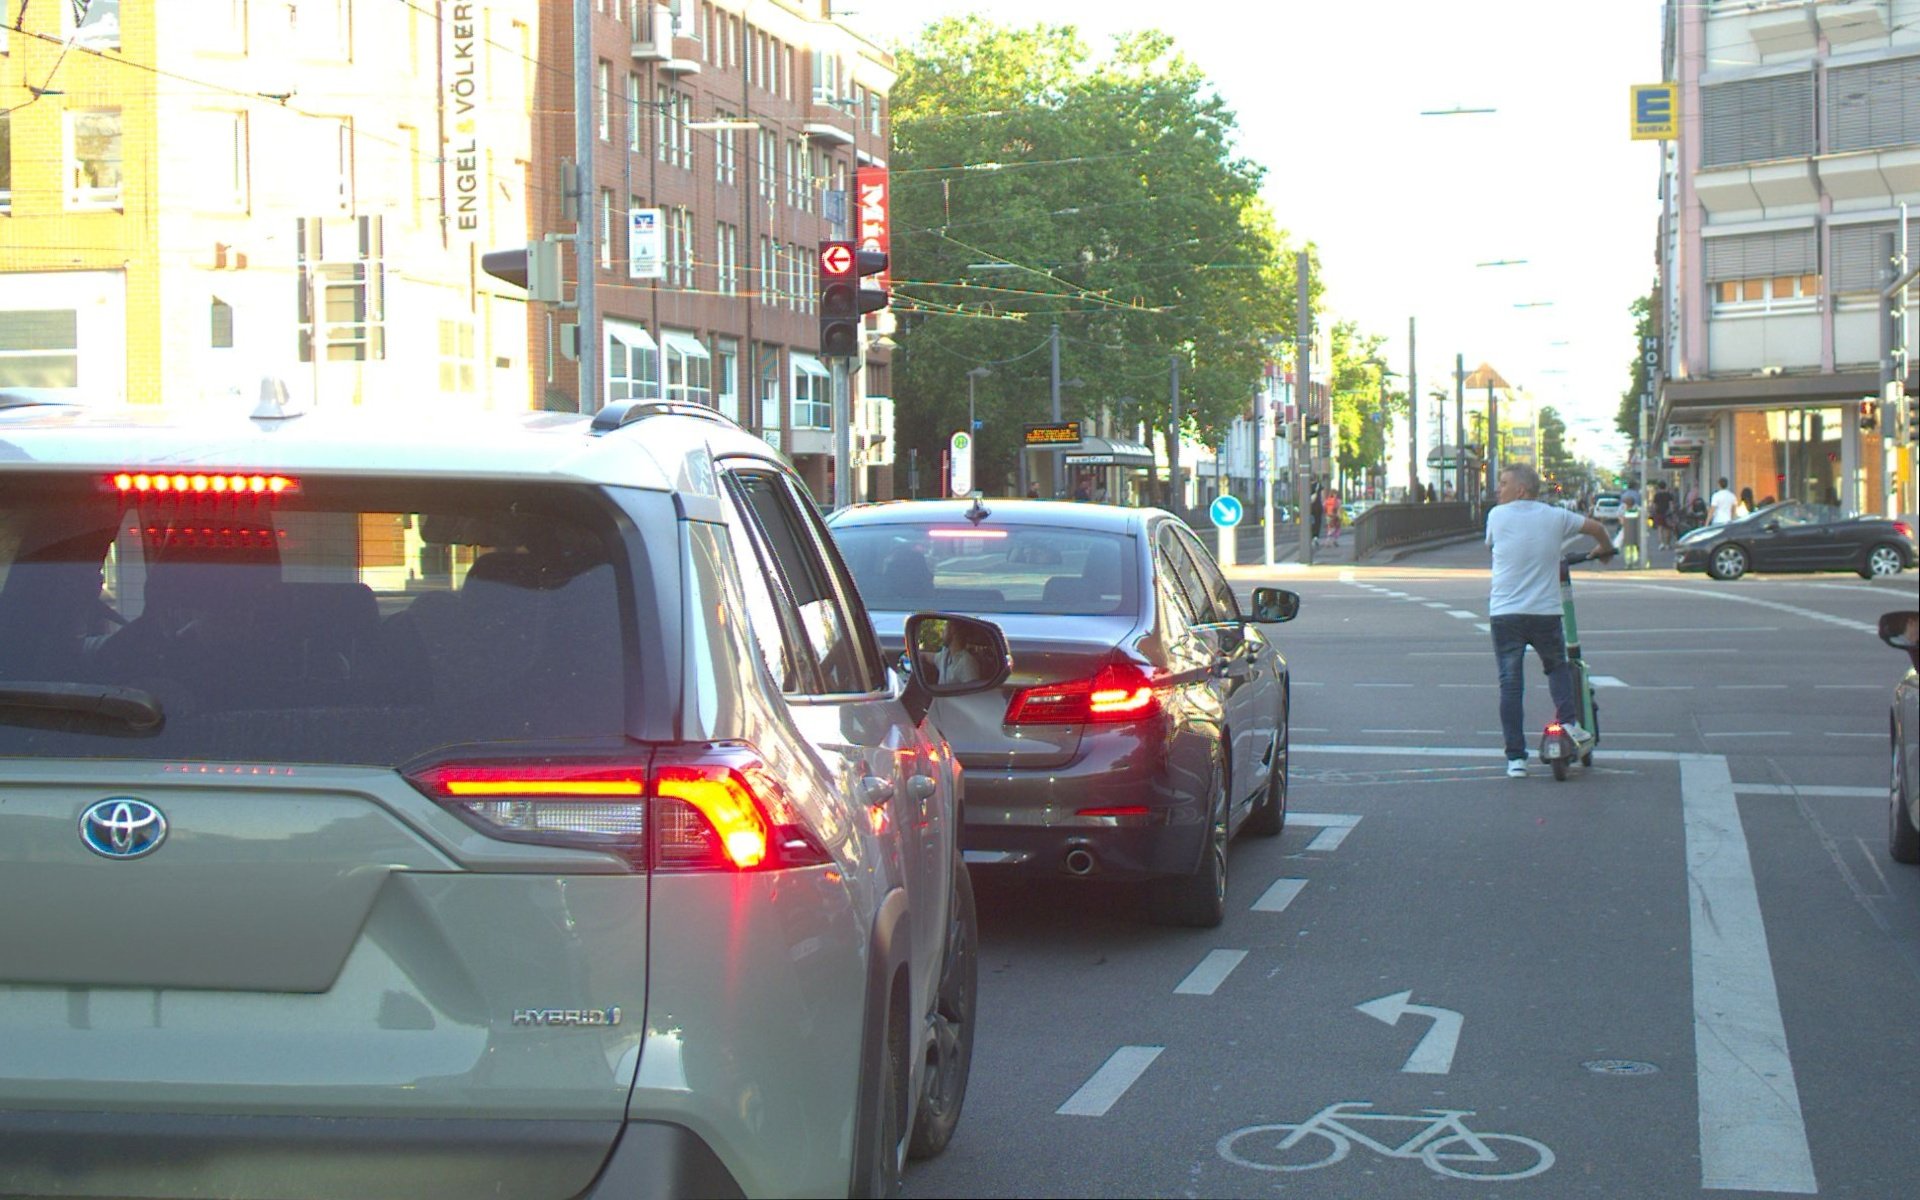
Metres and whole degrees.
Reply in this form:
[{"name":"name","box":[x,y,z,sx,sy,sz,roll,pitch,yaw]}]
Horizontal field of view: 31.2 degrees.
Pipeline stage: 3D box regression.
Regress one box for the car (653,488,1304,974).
[{"name":"car","box":[0.259,0.339,13.099,1.745,1.455,4.409,1,3,10]}]

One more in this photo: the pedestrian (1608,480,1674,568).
[{"name":"pedestrian","box":[13.556,-1.519,68.454,0.932,1.720,0.852,0,2,-30]}]

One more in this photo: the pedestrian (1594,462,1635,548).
[{"name":"pedestrian","box":[16.791,-2.446,88.225,0.932,2.189,0.852,1,2,9]}]

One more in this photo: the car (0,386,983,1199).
[{"name":"car","box":[-0.951,0.464,6.156,1.835,1.630,4.091,1,3,2]}]

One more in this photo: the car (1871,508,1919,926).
[{"name":"car","box":[4.356,0.408,12.479,1.765,1.435,3.998,1,2,11]}]

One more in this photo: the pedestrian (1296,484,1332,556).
[{"name":"pedestrian","box":[8.293,-1.885,80.532,0.701,1.658,0.807,1,2,13]}]

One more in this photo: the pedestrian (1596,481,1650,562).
[{"name":"pedestrian","box":[13.362,-1.584,69.284,0.721,1.618,0.772,-2,2,-26]}]

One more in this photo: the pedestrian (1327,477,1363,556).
[{"name":"pedestrian","box":[8.991,-1.948,80.298,0.701,1.816,0.807,1,2,13]}]

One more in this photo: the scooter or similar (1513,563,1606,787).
[{"name":"scooter or similar","box":[3.098,0.366,17.730,0.280,1.087,1.256,2,2,18]}]

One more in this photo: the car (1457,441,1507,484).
[{"name":"car","box":[24.027,-6.304,158.032,1.994,1.894,3.998,1,2,12]}]

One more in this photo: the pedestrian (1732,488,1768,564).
[{"name":"pedestrian","box":[15.543,-1.457,67.636,0.493,1.498,0.475,-2,2,-26]}]

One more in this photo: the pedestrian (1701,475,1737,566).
[{"name":"pedestrian","box":[14.892,-1.565,67.490,0.493,1.768,0.475,-2,2,-26]}]

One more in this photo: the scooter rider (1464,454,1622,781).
[{"name":"scooter rider","box":[3.022,0.076,17.798,0.662,1.641,0.660,2,2,20]}]

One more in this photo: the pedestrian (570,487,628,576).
[{"name":"pedestrian","box":[-8.319,-1.583,79.239,1.094,2.006,0.908,1,2,9]}]

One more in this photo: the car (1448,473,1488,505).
[{"name":"car","box":[29.873,-6.508,202.072,1.995,1.853,3.998,1,2,13]}]

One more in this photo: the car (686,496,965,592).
[{"name":"car","box":[-2.322,-0.992,59.925,4.553,1.615,1.997,1,2,8]}]

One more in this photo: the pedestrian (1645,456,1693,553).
[{"name":"pedestrian","box":[17.441,-2.349,84.536,1.085,2.357,1.055,1,2,12]}]

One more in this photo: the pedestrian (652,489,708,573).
[{"name":"pedestrian","box":[-6.823,-1.682,83.731,1.094,2.006,1.163,1,2,9]}]

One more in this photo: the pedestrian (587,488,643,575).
[{"name":"pedestrian","box":[-8.094,-1.621,80.717,1.094,2.006,0.908,1,2,9]}]

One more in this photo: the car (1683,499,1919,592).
[{"name":"car","box":[14.236,-0.929,57.695,3.988,1.471,1.999,1,2,9]}]

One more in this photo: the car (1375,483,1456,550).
[{"name":"car","box":[12.308,-2.258,92.694,1.812,1.740,3.713,1,2,12]}]
